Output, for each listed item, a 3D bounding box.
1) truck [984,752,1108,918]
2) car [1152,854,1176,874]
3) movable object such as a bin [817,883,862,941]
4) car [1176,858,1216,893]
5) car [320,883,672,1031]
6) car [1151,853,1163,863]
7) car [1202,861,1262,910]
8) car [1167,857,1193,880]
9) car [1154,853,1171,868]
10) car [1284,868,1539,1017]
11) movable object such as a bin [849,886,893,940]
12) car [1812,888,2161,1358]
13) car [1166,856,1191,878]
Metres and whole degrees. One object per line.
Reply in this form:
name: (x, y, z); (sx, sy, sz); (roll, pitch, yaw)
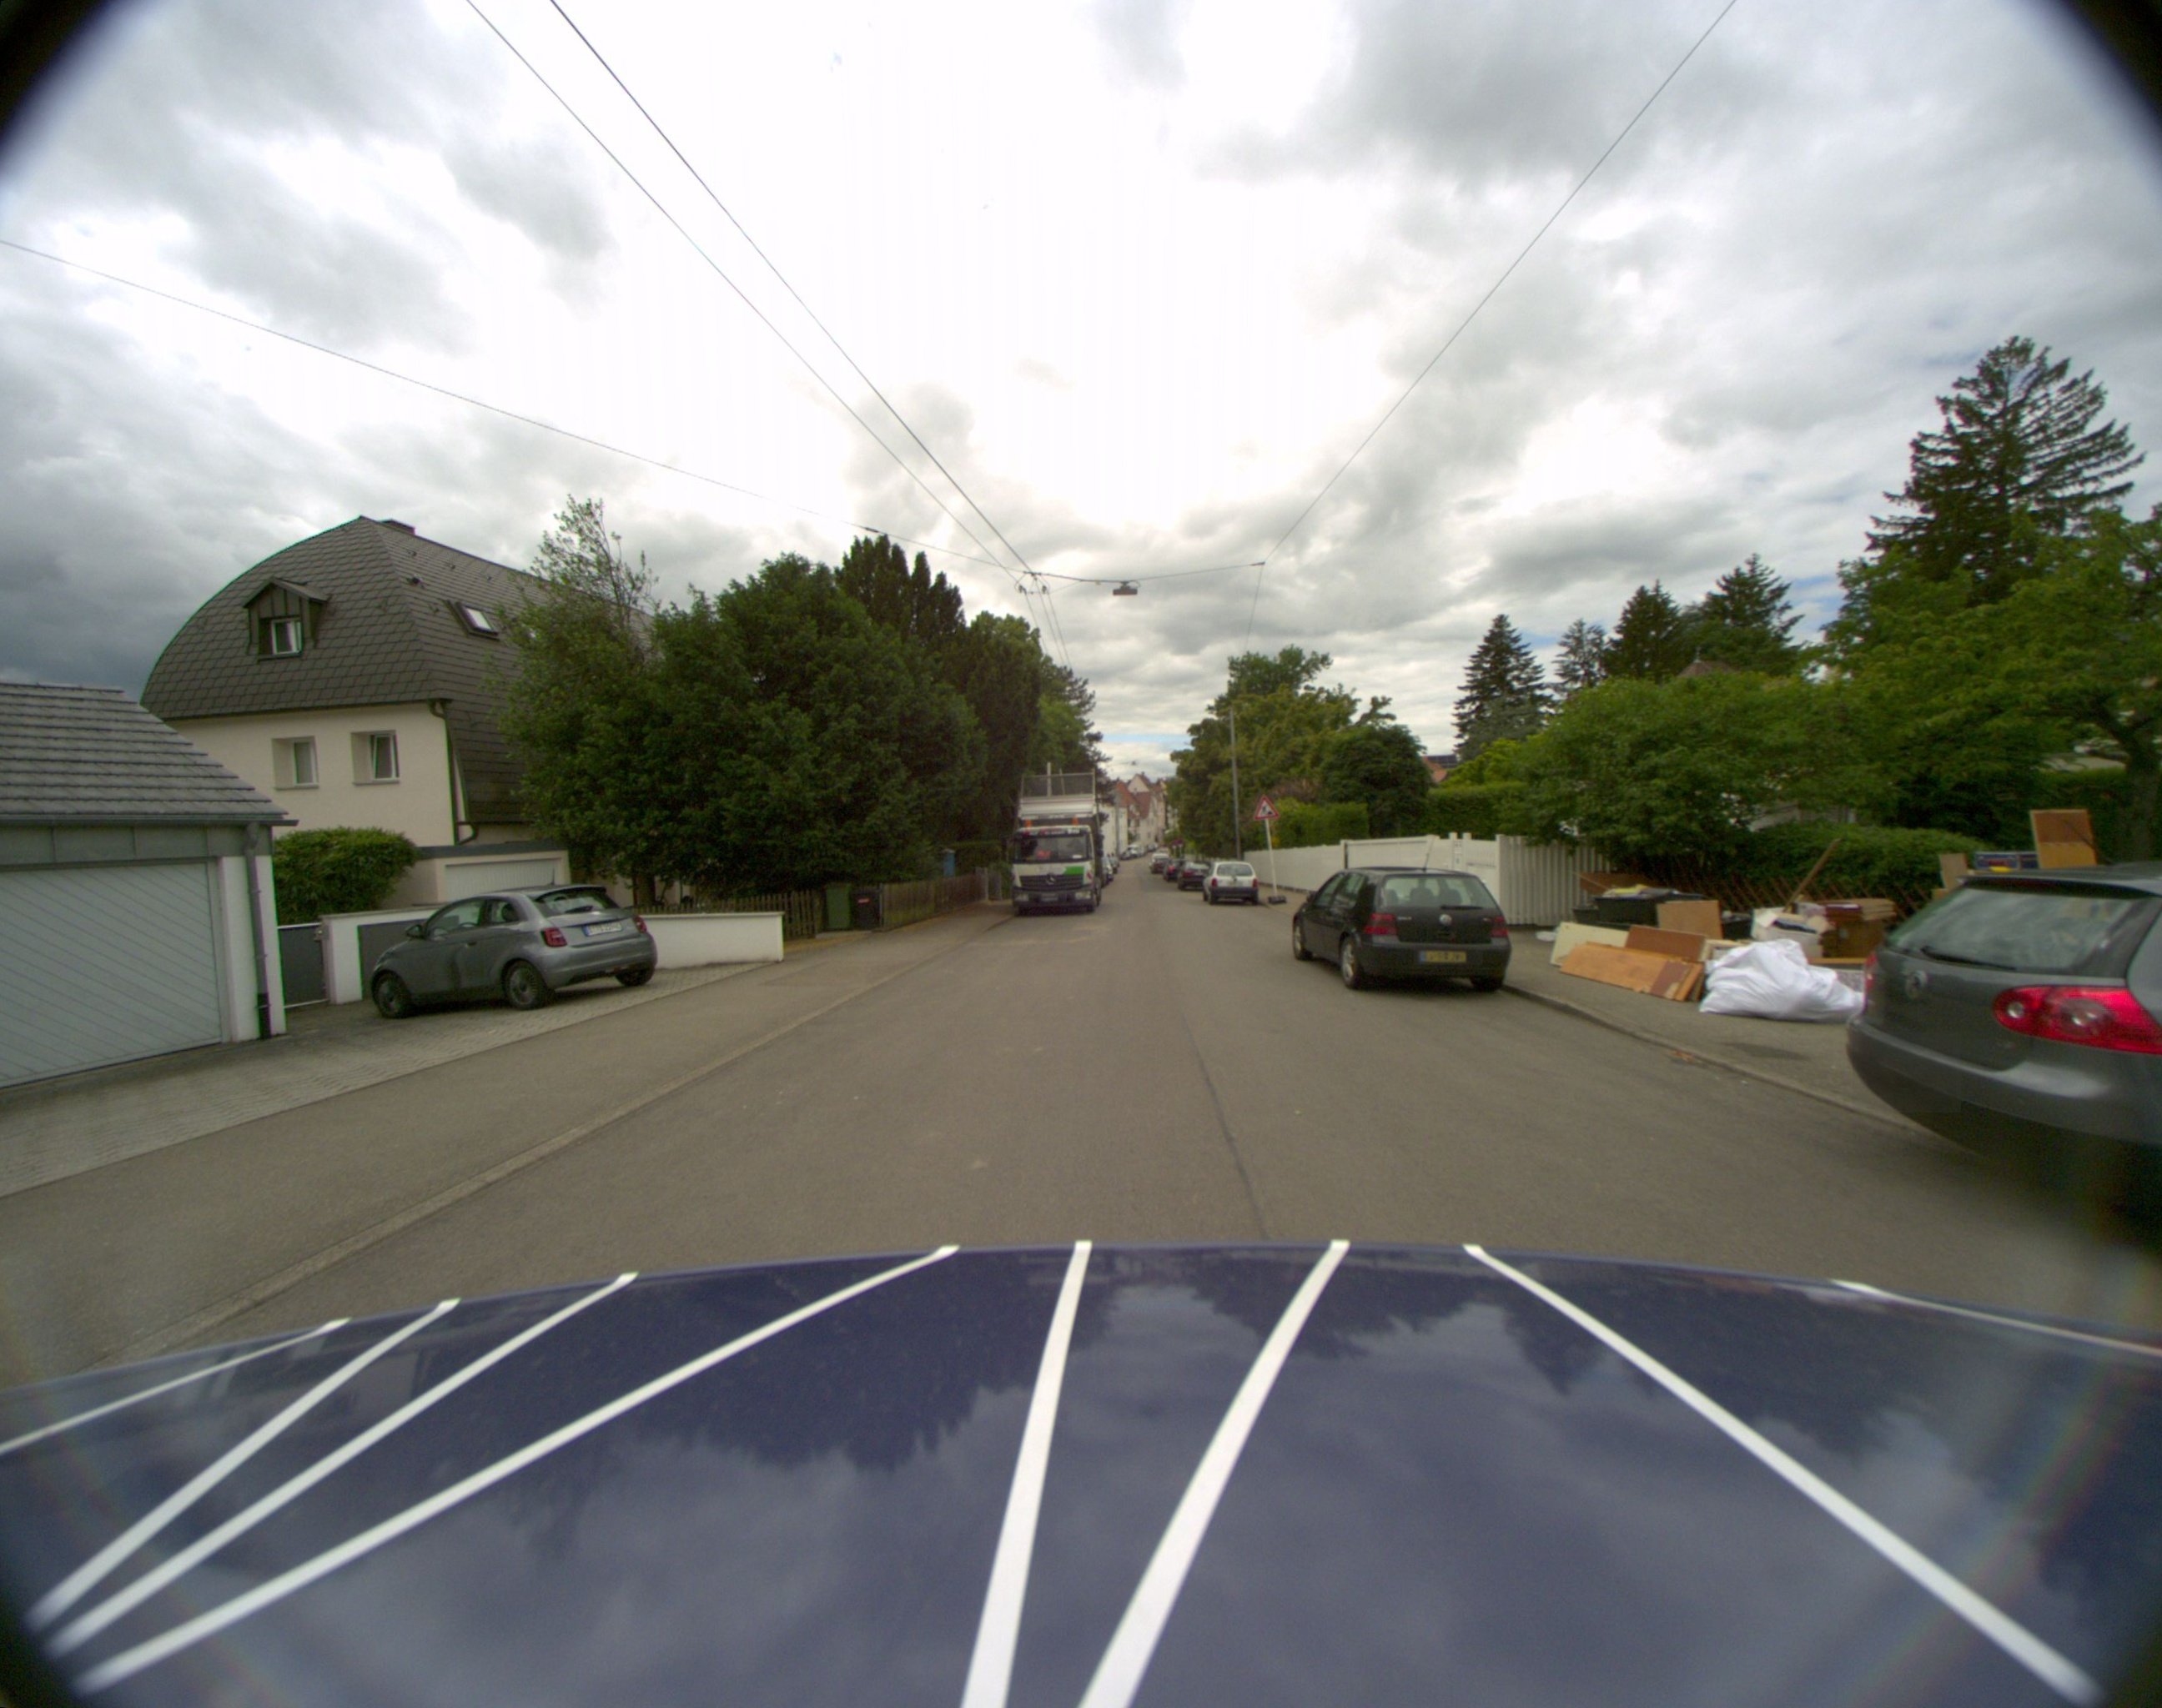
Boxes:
truck: (-0.825, -0.532, 24.913); (3.152, 4.525, 7.954); (-1, 0, 4)
car: (7.887, 0.892, 72.331); (1.887, 1.746, 3.703); (-2, 1, 2)
movable object such as a bin: (-5.289, 1.259, 16.678); (0.599, 1.200, 0.952); (-4, -2, 2)
car: (5.430, 0.988, 36.112); (1.620, 1.460, 3.313); (1, 1, 4)
car: (-7.719, 1.343, 10.095); (3.852, 1.488, 1.694); (-6, 0, 18)
car: (9.806, 0.487, 98.568); (1.423, 1.277, 3.313); (1, 1, 4)
car: (5.062, 1.011, 25.858); (1.620, 1.460, 3.313); (1, 1, 4)
car: (6.490, 0.951, 50.038); (1.538, 1.460, 3.314); (1, -1, 4)
car: (8.366, 0.640, 78.447); (1.620, 1.460, 3.313); (1, 1, 4)
car: (3.923, 0.953, 9.773); (1.758, 1.435, 3.803); (0, 0, 3)
movable object such as a bin: (-4.593, 1.284, 16.689); (0.599, 1.098, 0.952); (-4, -2, 2)
car: (5.591, 0.879, 2.654); (3.991, 1.454, 1.740); (-2, 0, 22)
car: (6.987, 0.916, 54.786); (1.620, 1.460, 3.313); (1, 1, 4)
